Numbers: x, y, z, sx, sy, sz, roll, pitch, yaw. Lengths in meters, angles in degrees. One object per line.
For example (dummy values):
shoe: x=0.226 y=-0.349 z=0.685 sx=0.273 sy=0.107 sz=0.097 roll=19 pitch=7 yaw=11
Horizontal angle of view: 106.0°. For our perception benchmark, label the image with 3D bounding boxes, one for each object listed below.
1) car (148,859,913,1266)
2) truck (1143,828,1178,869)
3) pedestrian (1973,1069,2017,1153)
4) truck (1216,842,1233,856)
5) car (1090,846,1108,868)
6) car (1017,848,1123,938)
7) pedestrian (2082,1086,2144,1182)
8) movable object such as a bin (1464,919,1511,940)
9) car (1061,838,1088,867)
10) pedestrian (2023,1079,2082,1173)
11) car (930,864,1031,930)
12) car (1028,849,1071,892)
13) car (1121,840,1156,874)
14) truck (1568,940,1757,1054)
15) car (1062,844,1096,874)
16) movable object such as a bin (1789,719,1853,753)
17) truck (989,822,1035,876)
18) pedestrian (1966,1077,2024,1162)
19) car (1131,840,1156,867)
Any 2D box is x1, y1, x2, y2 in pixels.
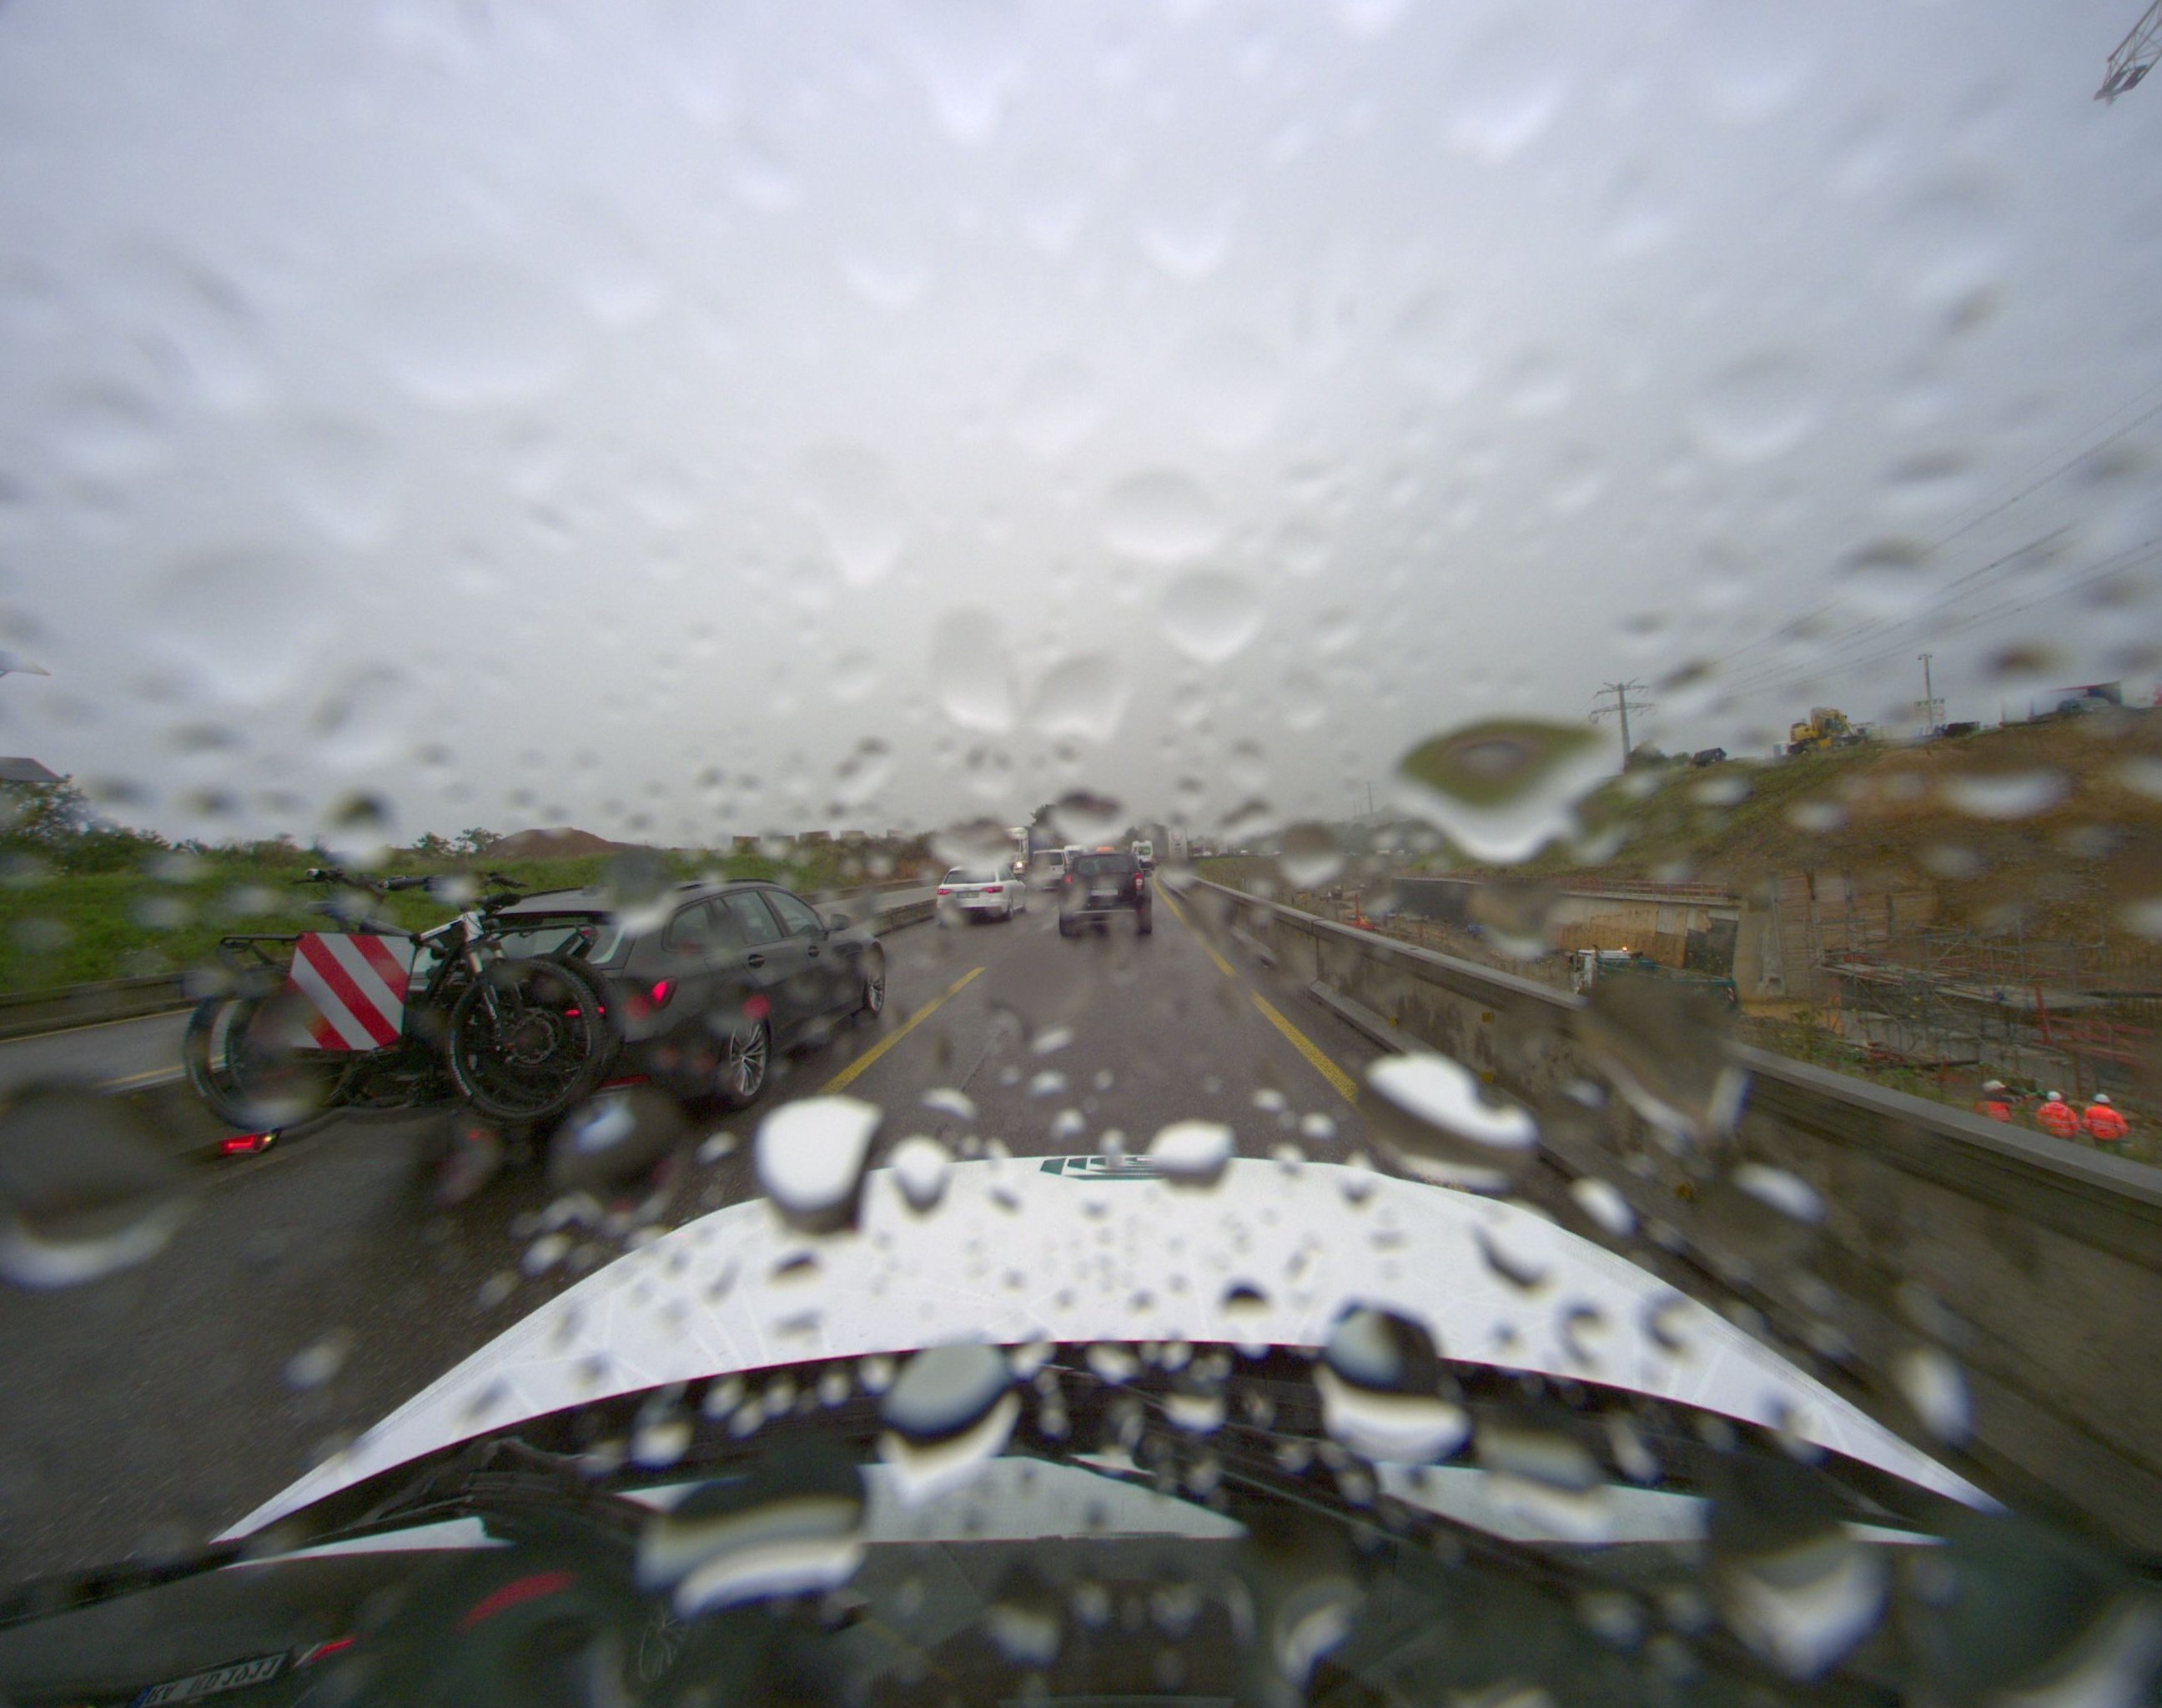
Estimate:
car: x=-2.854 y=0.882 z=6.168 sx=1.728 sy=1.462 sz=5.633 roll=-2 pitch=1 yaw=2
truck: x=10.523 y=-0.643 z=106.774 sx=3.522 sy=5.077 sz=10.470 roll=-2 pitch=-1 yaw=10
pedestrian: x=23.644 y=6.632 z=21.084 sx=0.568 sy=1.869 sz=0.740 roll=-3 pitch=-1 yaw=39
truck: x=39.377 y=-1.412 z=223.271 sx=3.444 sy=3.715 sz=8.458 roll=-3 pitch=0 yaw=18
car: x=2.267 y=0.317 z=100.627 sx=2.045 sy=2.577 sz=7.026 roll=-2 pitch=0 yaw=3
car: x=-0.102 y=0.739 z=16.899 sx=1.818 sy=1.591 sz=4.004 roll=-2 pitch=-1 yaw=4
pedestrian: x=24.001 y=6.494 z=18.958 sx=0.726 sy=1.944 sz=0.579 roll=-3 pitch=-1 yaw=40
movable object such as a bin: x=41.864 y=7.742 z=83.911 sx=2.008 sy=2.014 sz=3.800 roll=2 pitch=-4 yaw=-34
car: x=-0.587 y=-0.157 z=79.885 sx=1.997 sy=2.653 sz=6.891 roll=-2 pitch=1 yaw=4
pedestrian: x=23.389 y=6.521 z=19.612 sx=0.576 sy=1.944 sz=0.729 roll=-1 pitch=-1 yaw=-26
car: x=-2.489 y=1.029 z=21.123 sx=1.818 sy=1.499 sz=4.004 roll=-2 pitch=-1 yaw=4
car: x=-1.402 y=0.725 z=37.283 sx=1.821 sy=1.815 sz=3.997 roll=-2 pitch=-1 yaw=-1
car: x=3.322 y=0.196 z=46.527 sx=1.817 sy=1.815 sz=4.006 roll=-2 pitch=-1 yaw=6
truck: x=25.158 y=6.017 z=35.990 sx=2.715 sy=3.491 sz=9.082 roll=-2 pitch=-1 yaw=7
car: x=-0.071 y=0.340 z=51.580 sx=1.818 sy=1.815 sz=4.004 roll=-2 pitch=-1 yaw=4
movable object such as a bin: x=65.488 y=-10.392 z=72.148 sx=2.414 sy=2.443 sz=3.980 roll=-2 pitch=1 yaw=10
truck: x=-5.494 y=-0.425 z=65.570 sx=2.776 sy=4.034 sz=5.825 roll=-2 pitch=0 yaw=3
pedestrian: x=22.936 y=6.643 z=20.449 sx=0.570 sy=1.869 sz=0.737 roll=-2 pitch=-1 yaw=9
car: x=5.992 y=-0.008 z=77.624 sx=1.815 sy=2.437 sz=4.169 roll=-2 pitch=-1 yaw=10
